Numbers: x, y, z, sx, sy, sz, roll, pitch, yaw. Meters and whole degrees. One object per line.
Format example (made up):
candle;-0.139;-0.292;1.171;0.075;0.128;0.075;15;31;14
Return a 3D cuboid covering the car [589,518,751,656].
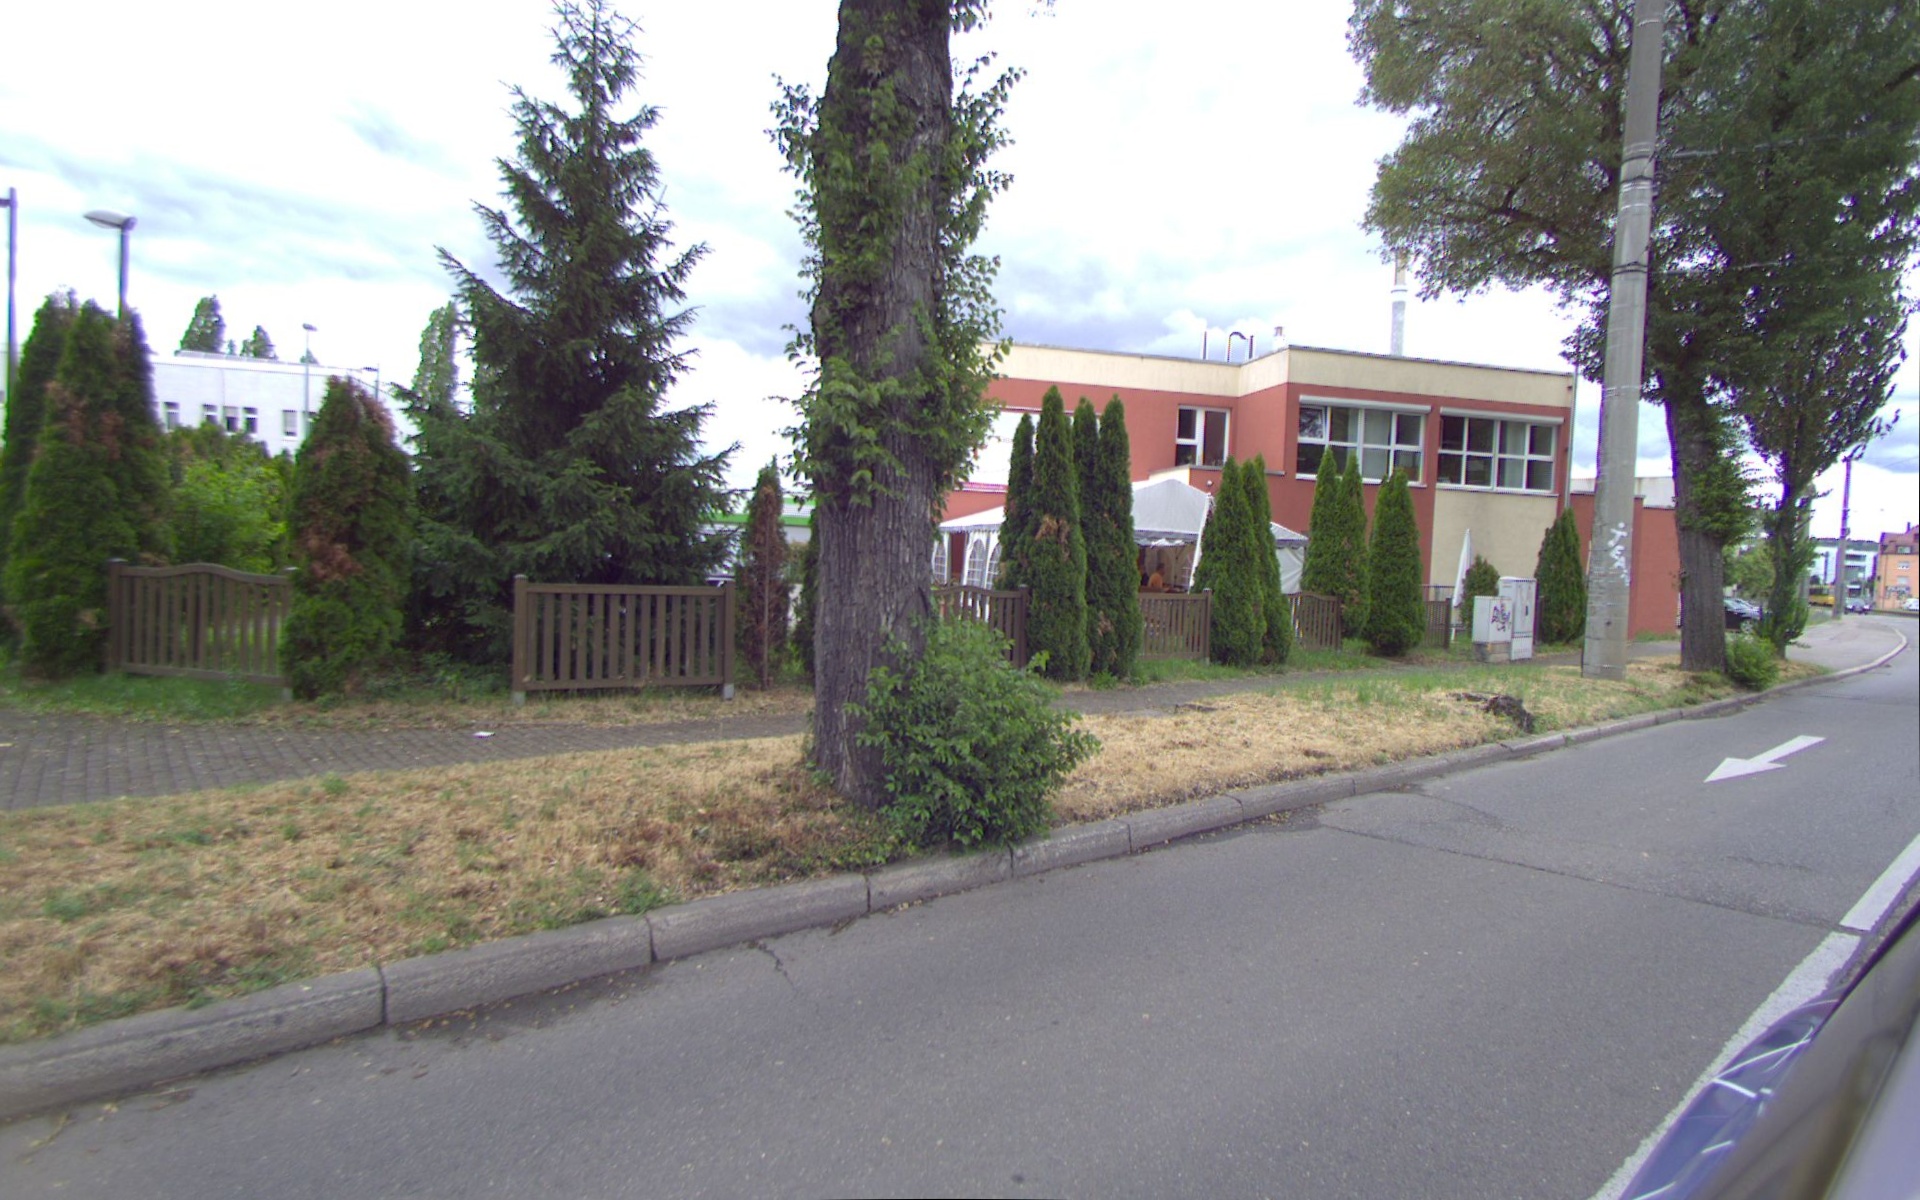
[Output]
car;-4.457;-0.250;15.131;1.958;1.727;4.387;2;2;-20

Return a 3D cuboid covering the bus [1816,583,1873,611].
bus;142.954;-0.553;163.797;3.519;4.001;10.421;1;2;21

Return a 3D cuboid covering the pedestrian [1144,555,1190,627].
pedestrian;4.458;-0.204;21.830;0.754;1.508;0.706;2;1;-4

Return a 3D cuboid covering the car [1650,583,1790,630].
car;30.927;0.230;41.360;1.726;1.460;4.246;2;4;-19

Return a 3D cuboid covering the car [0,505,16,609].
car;-17.569;-0.730;15.212;4.540;1.695;2.005;2;2;-13
